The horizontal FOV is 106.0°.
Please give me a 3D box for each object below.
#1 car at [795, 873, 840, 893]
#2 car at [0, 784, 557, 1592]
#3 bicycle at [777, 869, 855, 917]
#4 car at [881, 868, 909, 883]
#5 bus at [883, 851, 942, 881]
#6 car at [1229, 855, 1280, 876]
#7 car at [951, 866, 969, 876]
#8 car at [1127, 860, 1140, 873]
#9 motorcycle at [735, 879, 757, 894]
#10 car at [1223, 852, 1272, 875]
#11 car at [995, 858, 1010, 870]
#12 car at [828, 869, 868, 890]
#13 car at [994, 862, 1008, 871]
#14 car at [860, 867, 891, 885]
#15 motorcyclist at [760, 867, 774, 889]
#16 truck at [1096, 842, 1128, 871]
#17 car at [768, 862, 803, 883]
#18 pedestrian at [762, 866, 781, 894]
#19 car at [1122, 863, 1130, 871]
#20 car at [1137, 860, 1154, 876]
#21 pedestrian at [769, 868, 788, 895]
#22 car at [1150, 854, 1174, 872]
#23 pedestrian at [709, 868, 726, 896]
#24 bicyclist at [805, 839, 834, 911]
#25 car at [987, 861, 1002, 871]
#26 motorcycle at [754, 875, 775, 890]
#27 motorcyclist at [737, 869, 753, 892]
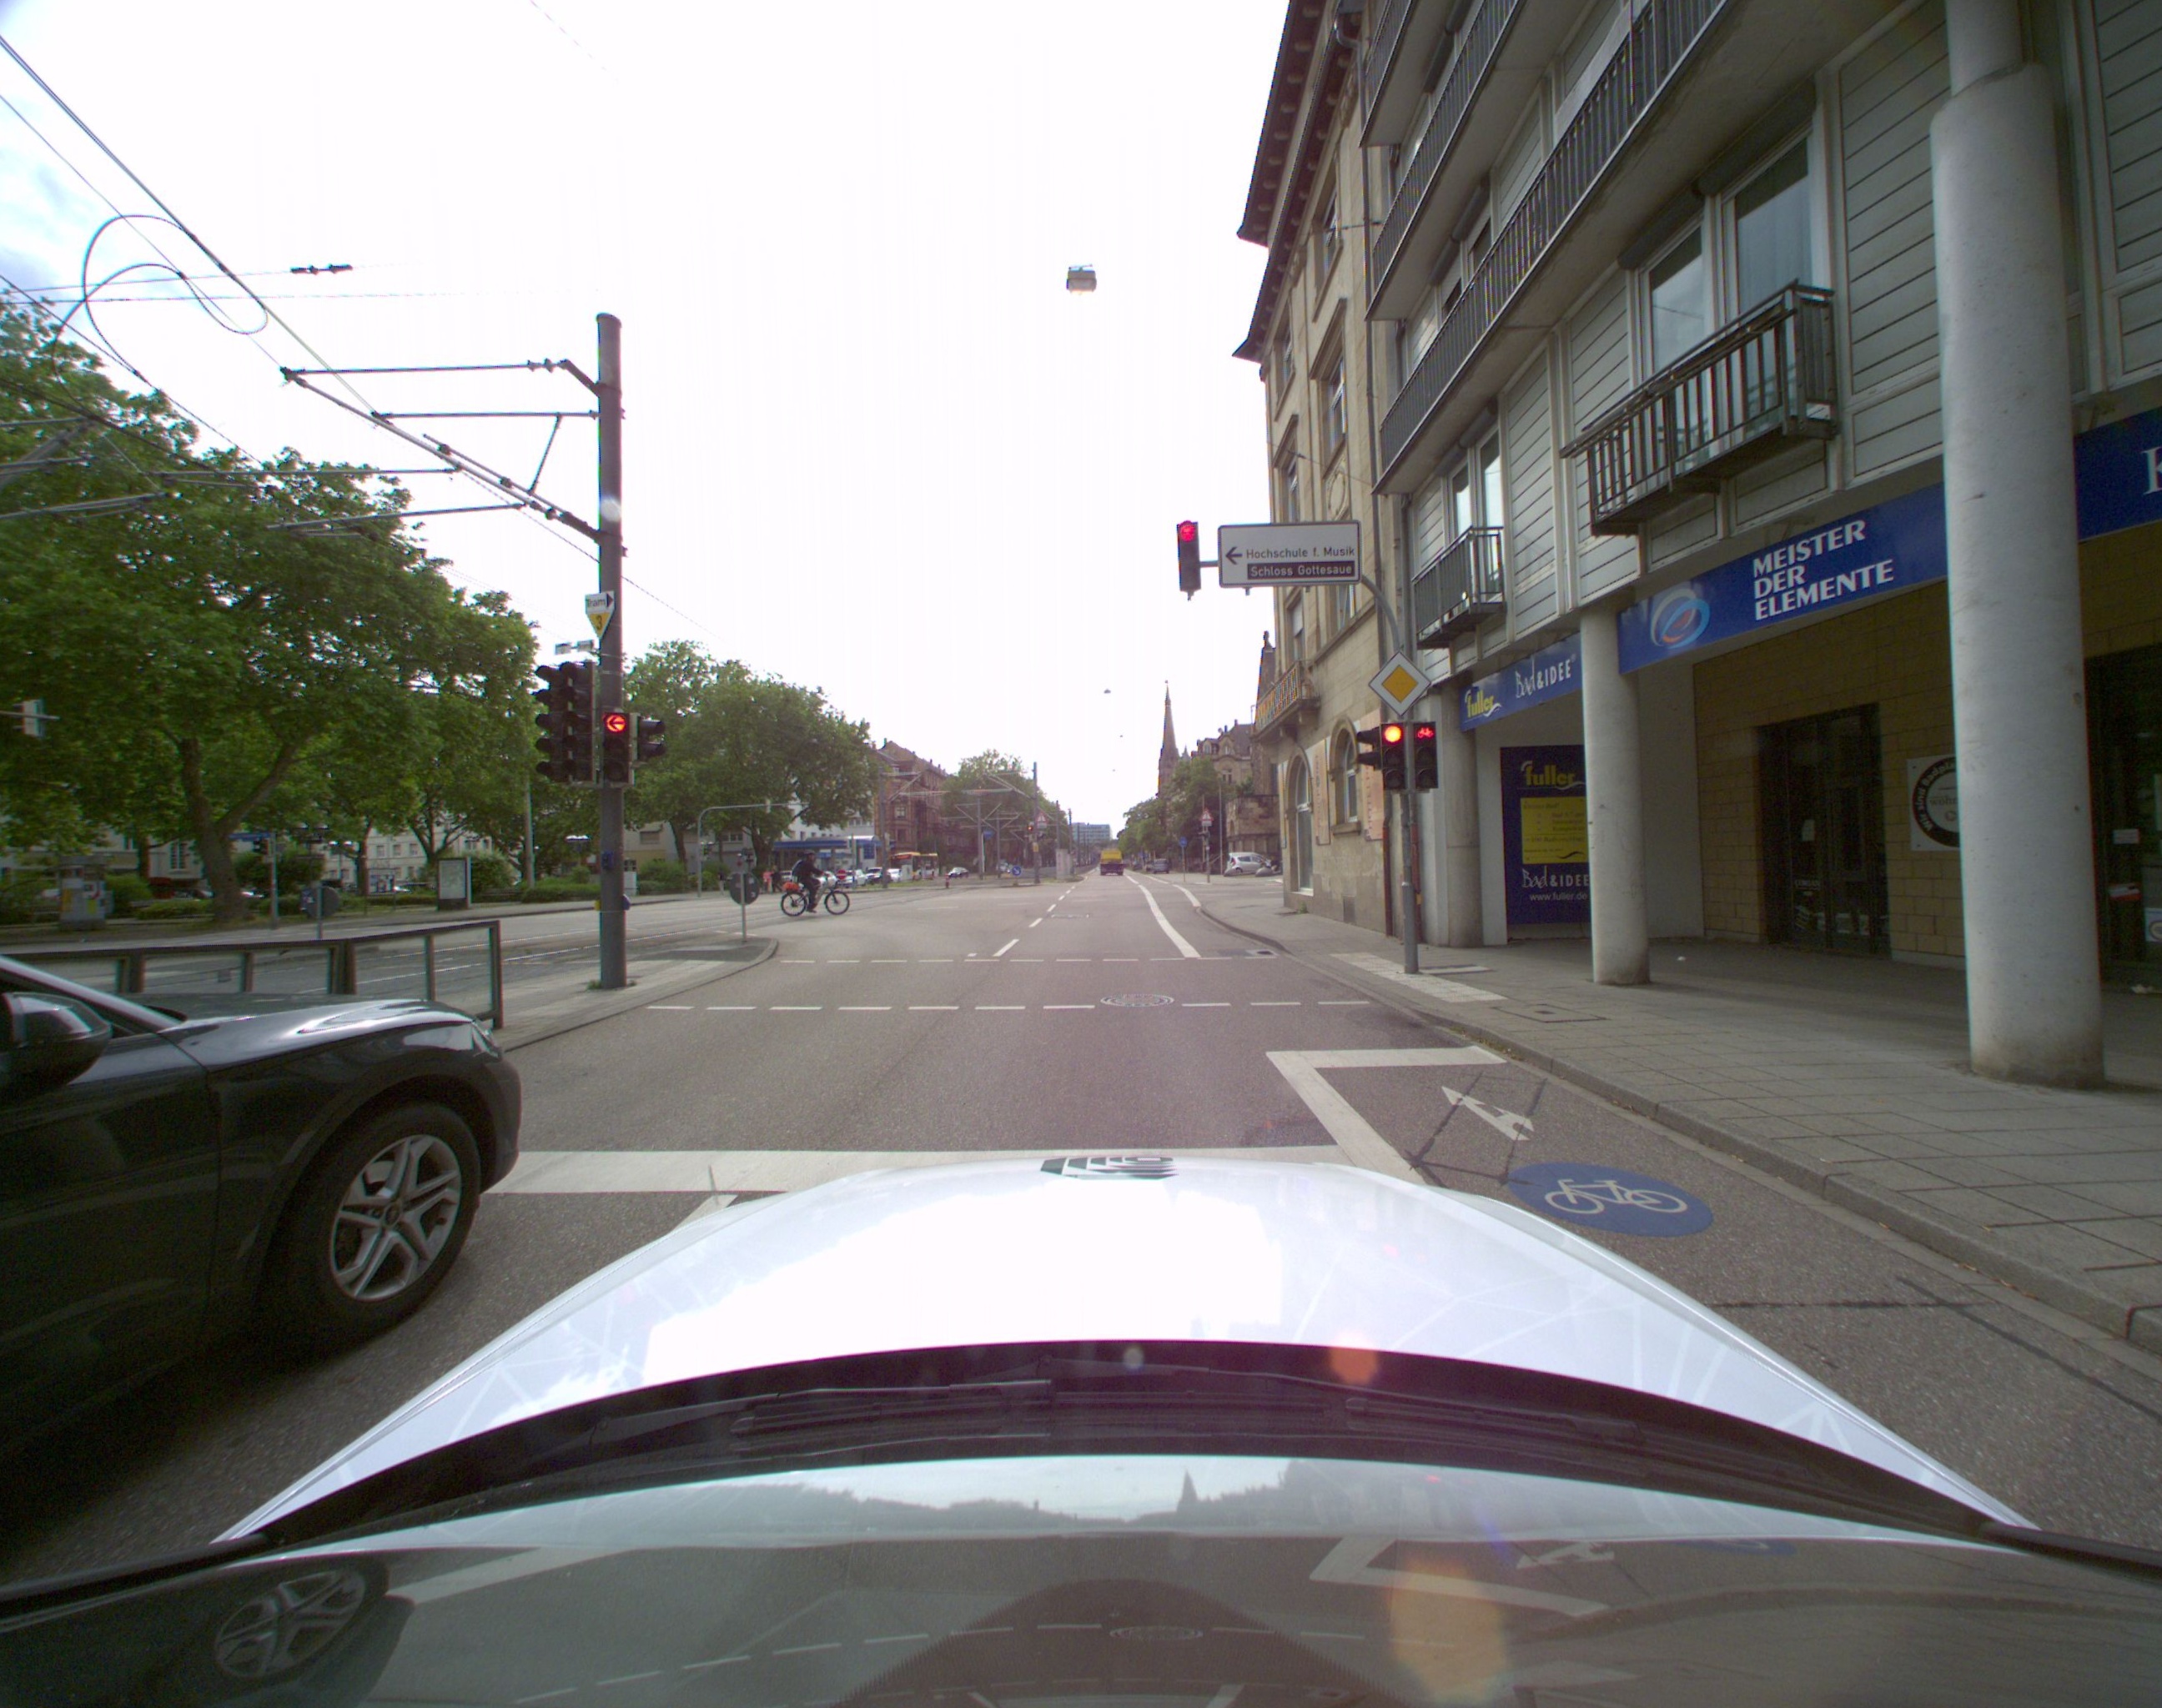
[{"bbox_3d":[-19.212,2.077,59.505,1.739,1.321,4.079,0,0,4],"label":"car"},{"bbox_3d":[-3.072,0.678,1.222,1.727,1.637,4.228,0,-1,2],"label":"car"},{"bbox_3d":[-7.536,1.086,23.176,2.002,1.272,0.744,0,-1,-28],"label":"bicycle"},{"bbox_3d":[-18.157,2.100,79.634,1.649,1.321,3.641,0,-1,3],"label":"car"},{"bbox_3d":[-18.297,1.298,89.711,3.217,3.035,12.323,0,0,4],"label":"bus"},{"bbox_3d":[13.750,0.905,64.766,3.699,1.563,2.001,0,-1,2],"label":"car"},{"bbox_3d":[-16.373,2.245,109.939,1.649,1.321,3.641,0,-1,3],"label":"car"},{"bbox_3d":[8.696,2.049,136.065,1.986,2.014,4.001,0,-1,2],"label":"car"},{"bbox_3d":[-22.671,2.180,55.152,0.604,0.928,1.953,-2,0,2],"label":"motorcycle"},{"bbox_3d":[13.928,0.788,68.230,3.699,1.855,2.001,0,-1,2],"label":"car"},{"bbox_3d":[-13.506,1.770,140.729,1.986,2.014,4.001,0,-1,2],"label":"car"},{"bbox_3d":[-18.843,2.057,66.070,1.986,1.594,4.001,0,-1,2],"label":"car"},{"bbox_3d":[-14.695,2.376,149.835,1.986,1.610,4.001,0,-1,2],"label":"car"},{"bbox_3d":[-18.329,1.929,72.713,1.649,1.478,3.641,0,-1,3],"label":"car"},{"bbox_3d":[-21.603,1.655,56.043,0.617,1.520,0.874,-2,-1,2],"label":"motorcyclist"},{"bbox_3d":[3.198,0.299,85.628,3.044,2.769,9.817,-2,0,1],"label":"truck"},{"bbox_3d":[-29.812,1.821,82.325,1.986,2.014,4.001,-2,0,2],"label":"car"},{"bbox_3d":[-19.484,1.650,51.334,0.863,1.713,0.692,-2,-1,5],"label":"pedestrian"},{"bbox_3d":[11.921,3.361,216.779,1.986,2.014,4.001,0,-1,2],"label":"car"},{"bbox_3d":[7.892,1.695,99.577,1.985,2.014,4.004,0,-1,4],"label":"car"},{"bbox_3d":[-19.433,1.757,52.321,0.869,1.713,0.874,-1,-1,-4],"label":"pedestrian"},{"bbox_3d":[8.976,0.985,89.944,1.979,1.855,4.042,-1,-1,14],"label":"car"},{"bbox_3d":[-22.760,1.754,51.059,0.680,1.690,0.743,0,-1,6],"label":"pedestrian"},{"bbox_3d":[-7.464,0.583,23.246,0.696,2.014,0.776,0,-1,-27],"label":"bicyclist"},{"bbox_3d":[-15.047,2.059,142.085,1.986,1.610,4.001,0,-1,2],"label":"car"},{"bbox_3d":[-21.643,1.959,55.708,0.604,0.928,1.953,-2,0,2],"label":"motorcycle"},{"bbox_3d":[-22.686,1.809,54.984,0.617,1.520,0.874,-2,-1,2],"label":"motorcyclist"}]
